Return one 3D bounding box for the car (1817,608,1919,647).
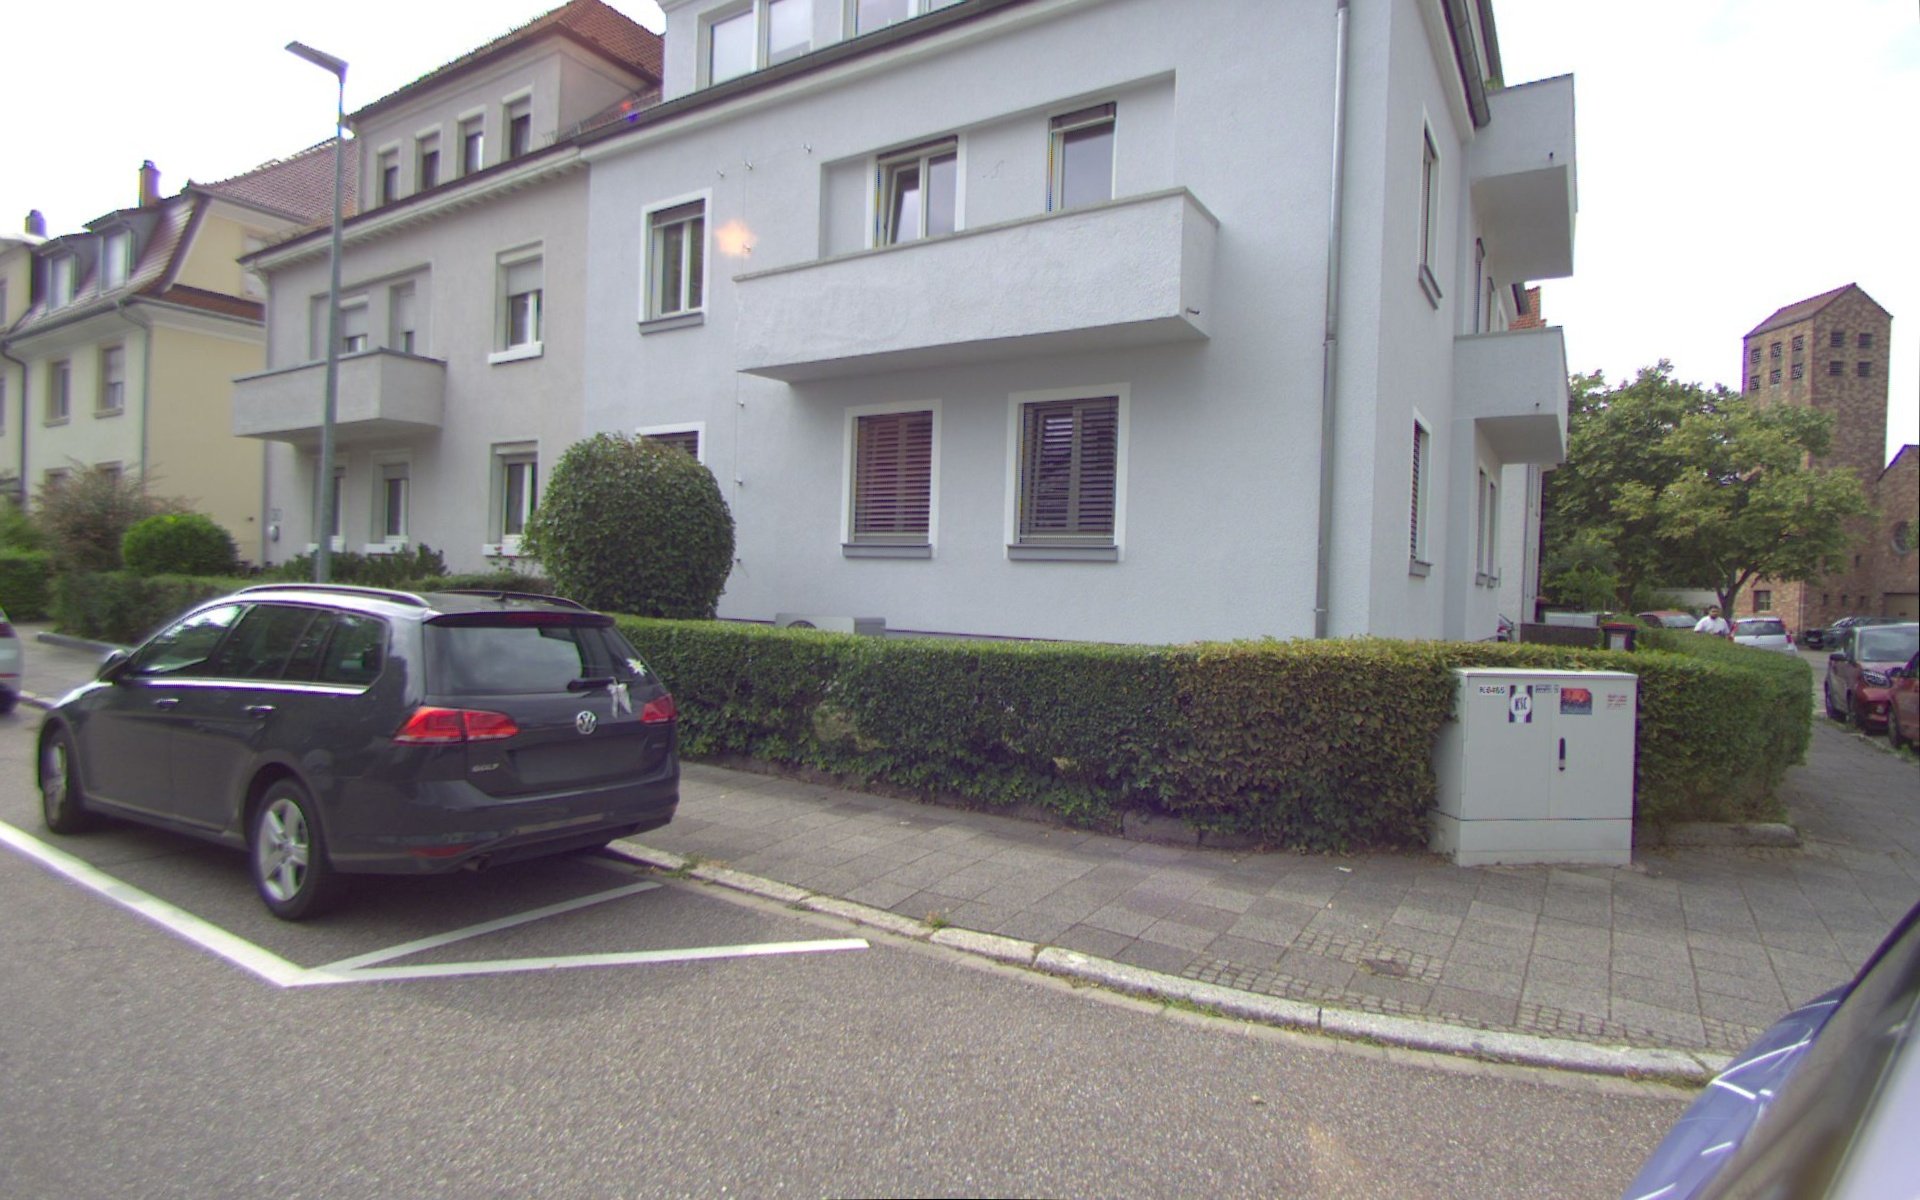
[{"bbox_3d":[40.727,1.230,44.632,4.198,1.482,1.665,3,3,33],"label":"car"}]

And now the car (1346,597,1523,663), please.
[{"bbox_3d":[12.527,0.732,26.764,3.973,1.482,1.975,2,1,34],"label":"car"}]

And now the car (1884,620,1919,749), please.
[{"bbox_3d":[11.967,0.999,11.397,1.638,1.515,3.441,-2,-1,32],"label":"car"}]

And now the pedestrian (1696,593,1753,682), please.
[{"bbox_3d":[17.055,0.804,22.605,0.878,1.902,1.066,2,1,33],"label":"pedestrian"}]

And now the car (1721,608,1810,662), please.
[{"bbox_3d":[24.084,1.009,30.363,1.638,1.515,3.441,-2,-1,32],"label":"car"}]

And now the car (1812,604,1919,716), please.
[{"bbox_3d":[14.136,0.825,15.107,1.638,1.515,3.441,-2,-1,32],"label":"car"}]

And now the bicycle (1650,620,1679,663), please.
[{"bbox_3d":[20.114,1.166,28.932,0.419,1.117,2.094,2,1,28],"label":"bicycle"}]

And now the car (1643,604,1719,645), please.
[{"bbox_3d":[27.845,0.924,39.178,1.632,1.515,3.454,-1,-1,23],"label":"car"}]

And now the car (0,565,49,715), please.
[{"bbox_3d":[-11.662,0.330,10.915,4.148,1.490,1.836,3,1,35],"label":"car"}]

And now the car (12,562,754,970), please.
[{"bbox_3d":[-3.370,0.600,5.746,4.141,1.490,1.840,2,1,30],"label":"car"}]
